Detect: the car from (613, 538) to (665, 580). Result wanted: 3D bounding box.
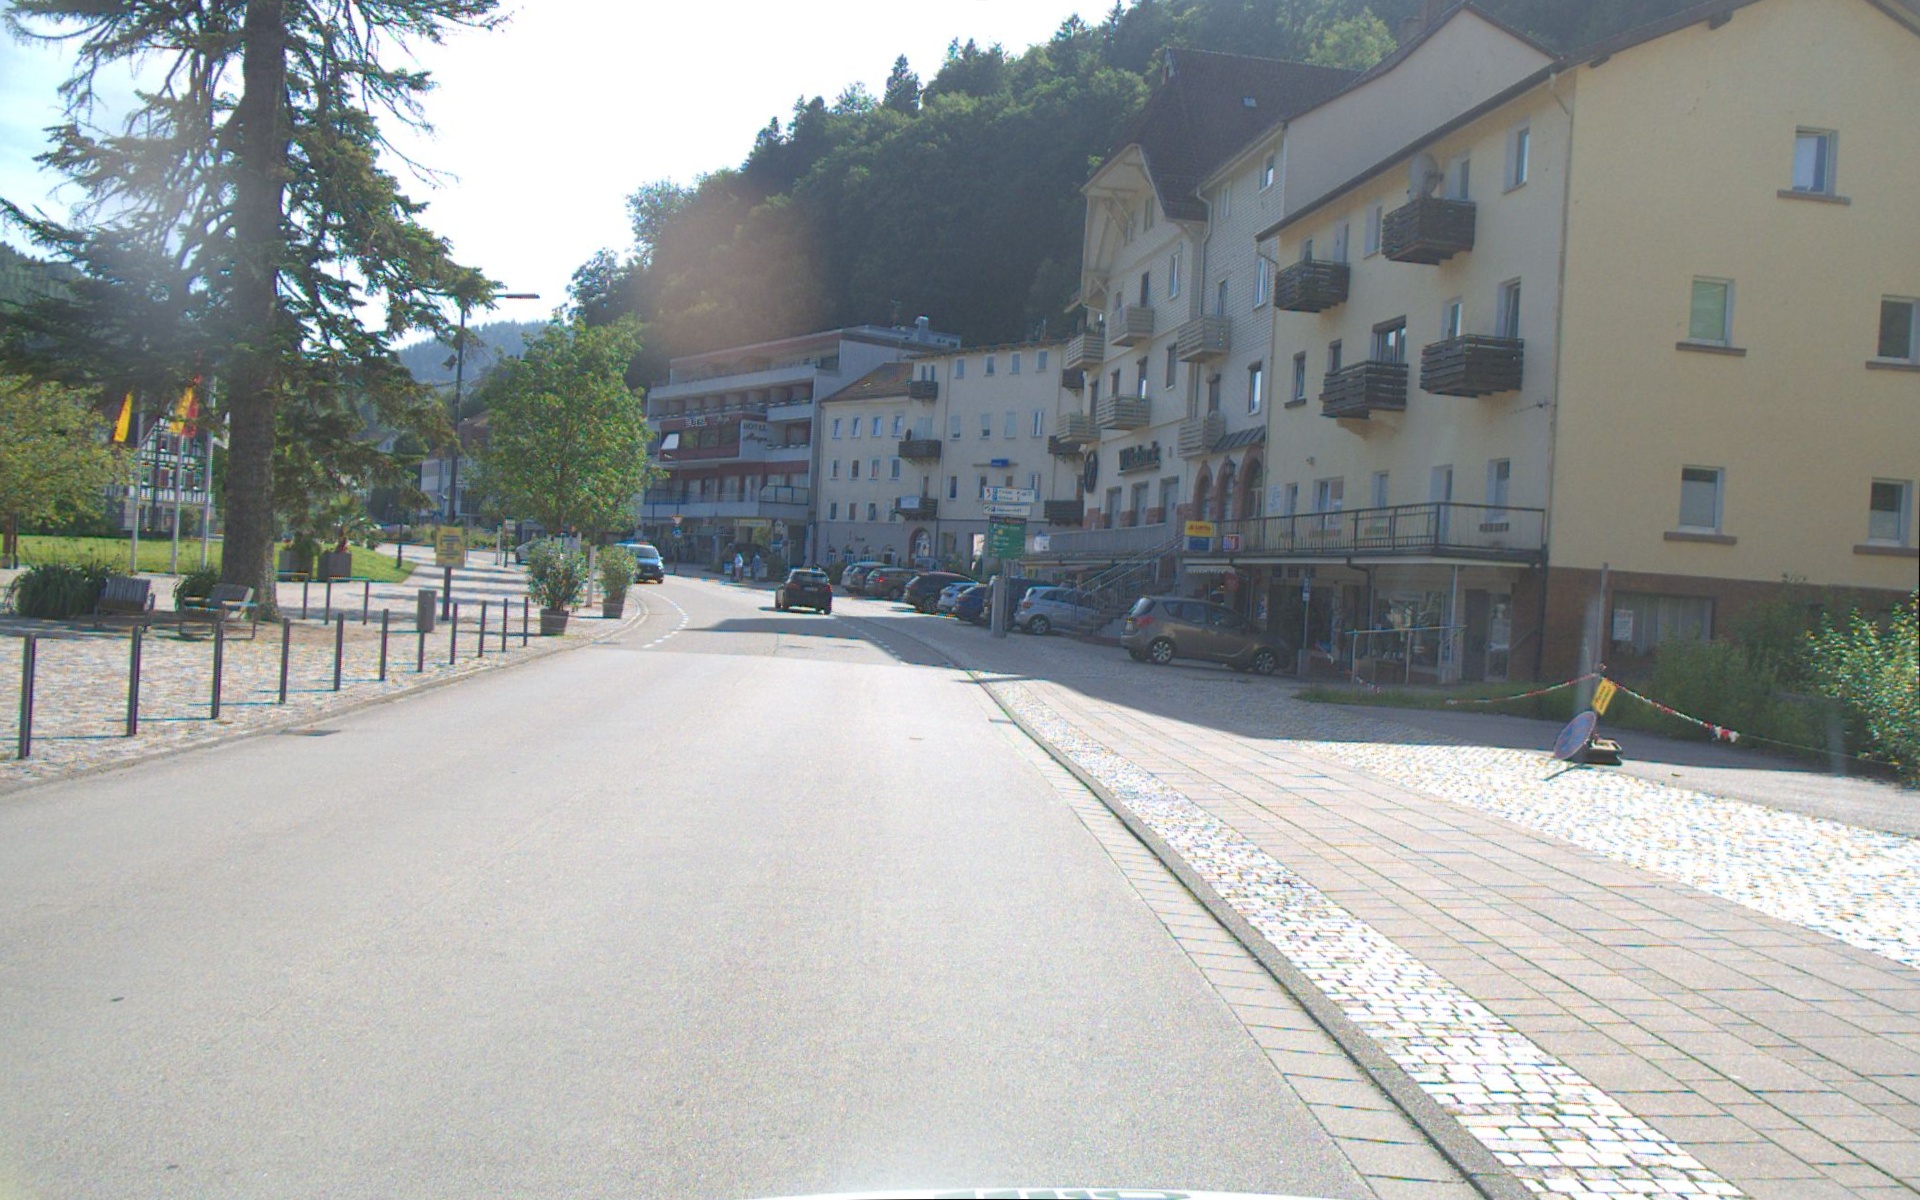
[{"bbox_3d":[-16.439,-2.111,84.563,1.827,1.987,4.989,2,1,-20],"label":"car"}]

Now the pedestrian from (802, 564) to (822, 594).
[{"bbox_3d":[-7.489,-1.073,83.771,0.730,1.467,0.624,1,2,-38],"label":"pedestrian"}]

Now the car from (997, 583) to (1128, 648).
[{"bbox_3d":[3.282,0.490,53.284,3.838,1.616,1.772,6,1,-8],"label":"car"}]

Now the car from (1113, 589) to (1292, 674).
[{"bbox_3d":[5.791,0.746,39.675,3.791,1.581,1.756,6,0,-11],"label":"car"}]

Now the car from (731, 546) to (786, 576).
[{"bbox_3d":[-13.015,-2.499,106.972,3.128,1.691,1.580,4,1,-29],"label":"car"}]

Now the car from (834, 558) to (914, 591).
[{"bbox_3d":[-4.545,-1.347,87.292,3.818,1.640,1.757,0,3,-29],"label":"car"}]

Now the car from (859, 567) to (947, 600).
[{"bbox_3d":[-2.813,-0.809,81.541,3.964,1.542,1.757,0,3,-29],"label":"car"}]

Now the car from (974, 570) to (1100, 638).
[{"bbox_3d":[2.575,0.130,55.987,3.838,1.835,1.854,7,0,-8],"label":"car"}]

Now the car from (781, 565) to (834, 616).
[{"bbox_3d":[-5.609,-0.370,60.666,1.695,1.601,3.748,4,2,-8],"label":"car"}]

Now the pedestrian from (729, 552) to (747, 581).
[{"bbox_3d":[-13.126,-1.981,97.740,0.749,1.621,0.622,4,1,-31],"label":"pedestrian"}]

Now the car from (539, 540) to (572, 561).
[{"bbox_3d":[-36.044,-4.390,147.394,1.660,1.648,3.957,4,1,-32],"label":"car"}]

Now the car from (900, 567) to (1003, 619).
[{"bbox_3d":[-0.381,-0.295,69.923,4.009,1.694,1.770,7,0,-8],"label":"car"}]

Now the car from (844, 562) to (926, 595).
[{"bbox_3d":[-3.817,-1.100,84.480,3.818,1.576,1.757,0,3,-29],"label":"car"}]

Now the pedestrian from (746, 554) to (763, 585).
[{"bbox_3d":[-12.154,-1.792,97.636,0.662,1.758,0.700,4,1,-31],"label":"pedestrian"}]

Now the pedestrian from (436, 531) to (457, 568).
[{"bbox_3d":[-26.881,-2.649,86.574,0.857,1.846,0.684,4,1,-30],"label":"pedestrian"}]

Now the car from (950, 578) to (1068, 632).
[{"bbox_3d":[1.704,0.171,58.597,3.837,1.485,1.733,6,0,-8],"label":"car"}]

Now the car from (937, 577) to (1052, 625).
[{"bbox_3d":[1.327,0.043,65.110,4.274,1.486,1.770,5,-1,-6],"label":"car"}]

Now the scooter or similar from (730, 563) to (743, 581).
[{"bbox_3d":[-13.232,-1.659,97.888,0.590,0.967,0.469,4,1,-31],"label":"scooter or similar"}]
